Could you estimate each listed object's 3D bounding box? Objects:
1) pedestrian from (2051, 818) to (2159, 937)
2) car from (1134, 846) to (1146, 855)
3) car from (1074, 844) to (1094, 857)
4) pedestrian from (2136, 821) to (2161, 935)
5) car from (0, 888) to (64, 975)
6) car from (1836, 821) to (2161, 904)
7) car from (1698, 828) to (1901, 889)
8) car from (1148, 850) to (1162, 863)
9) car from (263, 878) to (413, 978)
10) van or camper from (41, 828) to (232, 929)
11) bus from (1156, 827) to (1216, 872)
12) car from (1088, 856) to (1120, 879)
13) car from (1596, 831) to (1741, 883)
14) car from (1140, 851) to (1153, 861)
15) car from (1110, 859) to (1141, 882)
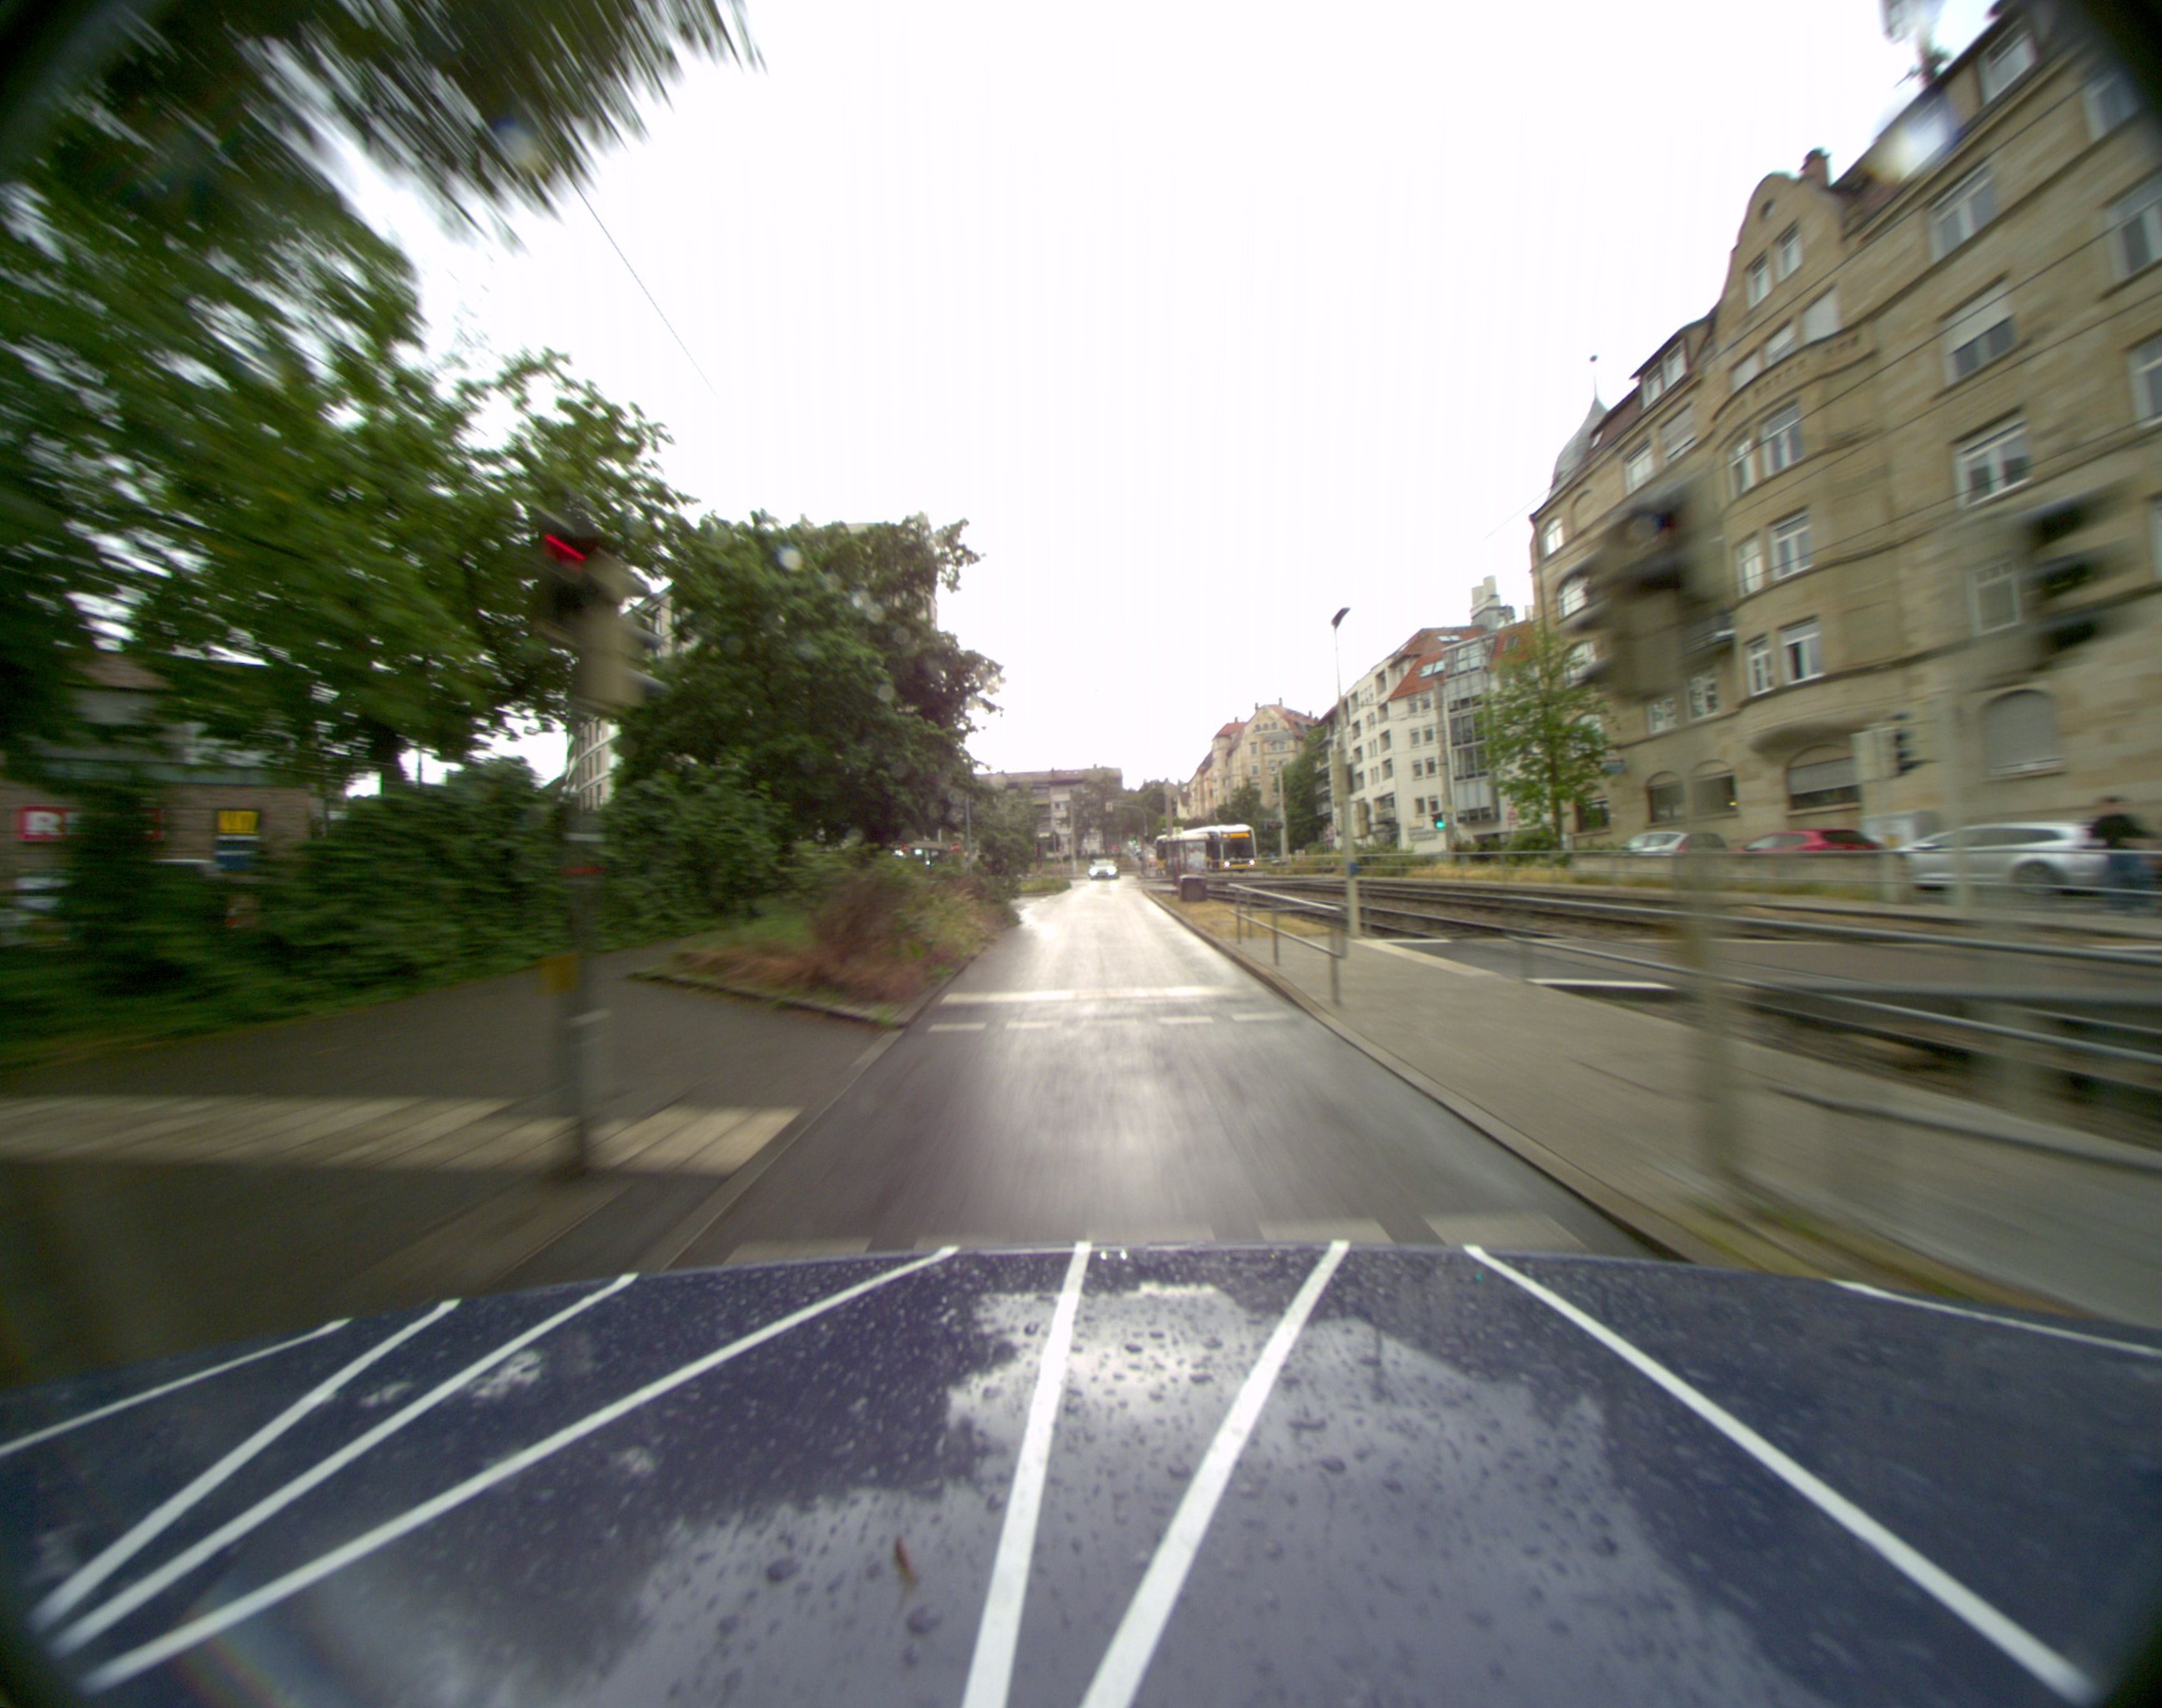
[{"bbox_3d":[14.208,0.314,10.559,0.626,1.584,0.620,-2,0,2],"label":"pedestrian"},{"bbox_3d":[11.511,-0.675,148.472,1.805,1.824,4.283,-2,0,-2],"label":"car"},{"bbox_3d":[0.339,-0.364,83.049,1.998,1.355,4.000,-2,0,2],"label":"car"},{"bbox_3d":[14.759,0.317,10.113,0.521,1.523,0.620,-2,0,2],"label":"pedestrian"},{"bbox_3d":[-20.860,1.441,14.050,3.989,1.456,2.004,-1,0,43],"label":"car"},{"bbox_3d":[19.141,0.141,15.951,1.721,1.434,4.868,-2,0,0],"label":"car"},{"bbox_3d":[19.484,0.115,20.897,1.634,1.434,4.175,-2,0,1],"label":"car"},{"bbox_3d":[11.595,0.428,119.473,1.998,2.001,4.001,-1,0,4],"label":"car"},{"bbox_3d":[-17.878,1.681,18.216,4.497,2.002,2.004,-3,0,39],"label":"car"},{"bbox_3d":[-19.762,0.440,16.161,5.166,1.823,2.004,0,1,45],"label":"van or camper"},{"bbox_3d":[8.704,-0.371,64.310,2.598,3.449,9.101,-2,0,-8],"label":"bus"},{"bbox_3d":[1.712,1.036,58.544,1.813,1.606,4.302,-3,0,-6],"label":"car"},{"bbox_3d":[19.503,0.098,25.467,1.634,1.538,4.175,-2,0,1],"label":"car"},{"bbox_3d":[11.625,0.330,135.328,1.805,1.824,4.283,-2,0,-2],"label":"car"},{"bbox_3d":[4.139,1.508,71.331,2.000,2.002,3.997,-2,0,-8],"label":"car"}]
